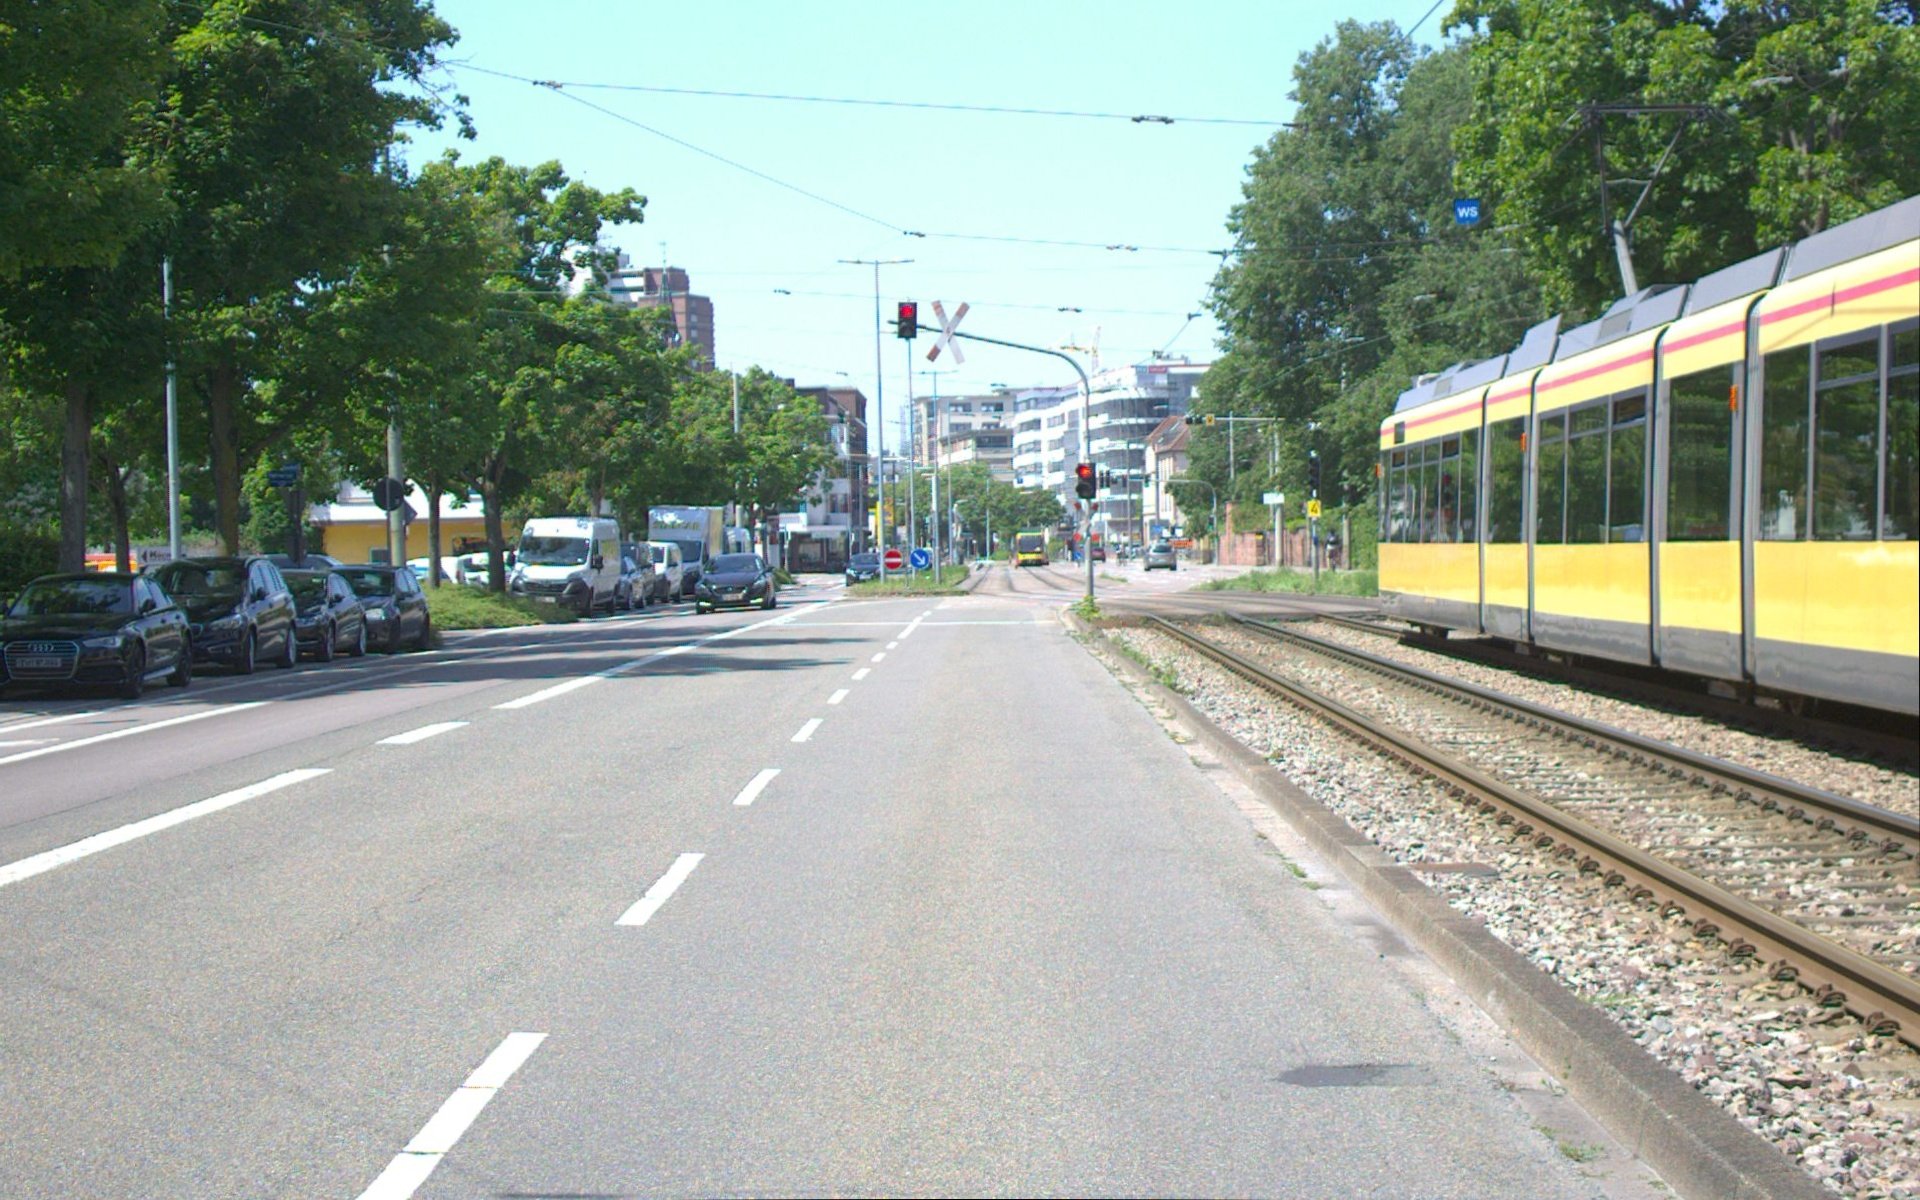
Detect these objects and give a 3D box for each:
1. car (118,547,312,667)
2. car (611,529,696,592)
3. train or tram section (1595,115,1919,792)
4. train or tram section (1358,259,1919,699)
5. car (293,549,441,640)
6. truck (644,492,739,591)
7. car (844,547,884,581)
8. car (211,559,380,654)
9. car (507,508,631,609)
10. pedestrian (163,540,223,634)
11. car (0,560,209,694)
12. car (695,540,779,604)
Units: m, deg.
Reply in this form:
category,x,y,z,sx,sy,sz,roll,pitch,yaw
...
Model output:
category,x,y,z,sx,sy,sz,roll,pitch,yaw
car,-10.442,0.063,48.473,1.774,1.598,4.638,0,1,-1
car,-9.619,-1.269,108.318,2.061,1.891,4.871,-1,1,2
train or tram section,6.705,-0.817,19.621,2.943,3.679,18.390,0,1,1
train or tram section,6.983,-1.210,38.907,2.943,3.679,20.284,0,1,1
car,-10.121,-0.126,58.899,1.775,1.475,4.048,1,1,1
truck,-9.069,-1.985,116.754,2.157,3.199,7.081,2,1,3
car,-4.350,-1.642,155.747,1.678,1.393,4.006,-3,1,-1
car,-10.349,0.069,53.830,1.774,1.368,4.697,1,1,-1
car,-10.029,-1.096,88.657,2.157,2.478,6.192,1,1,3
pedestrian,-15.118,-0.256,67.774,0.974,1.817,0.795,-1,1,-2
car,-10.363,0.279,41.026,1.774,1.451,4.805,-1,1,-1
car,-5.441,-0.702,84.371,1.774,1.455,4.195,-2,1,-1
